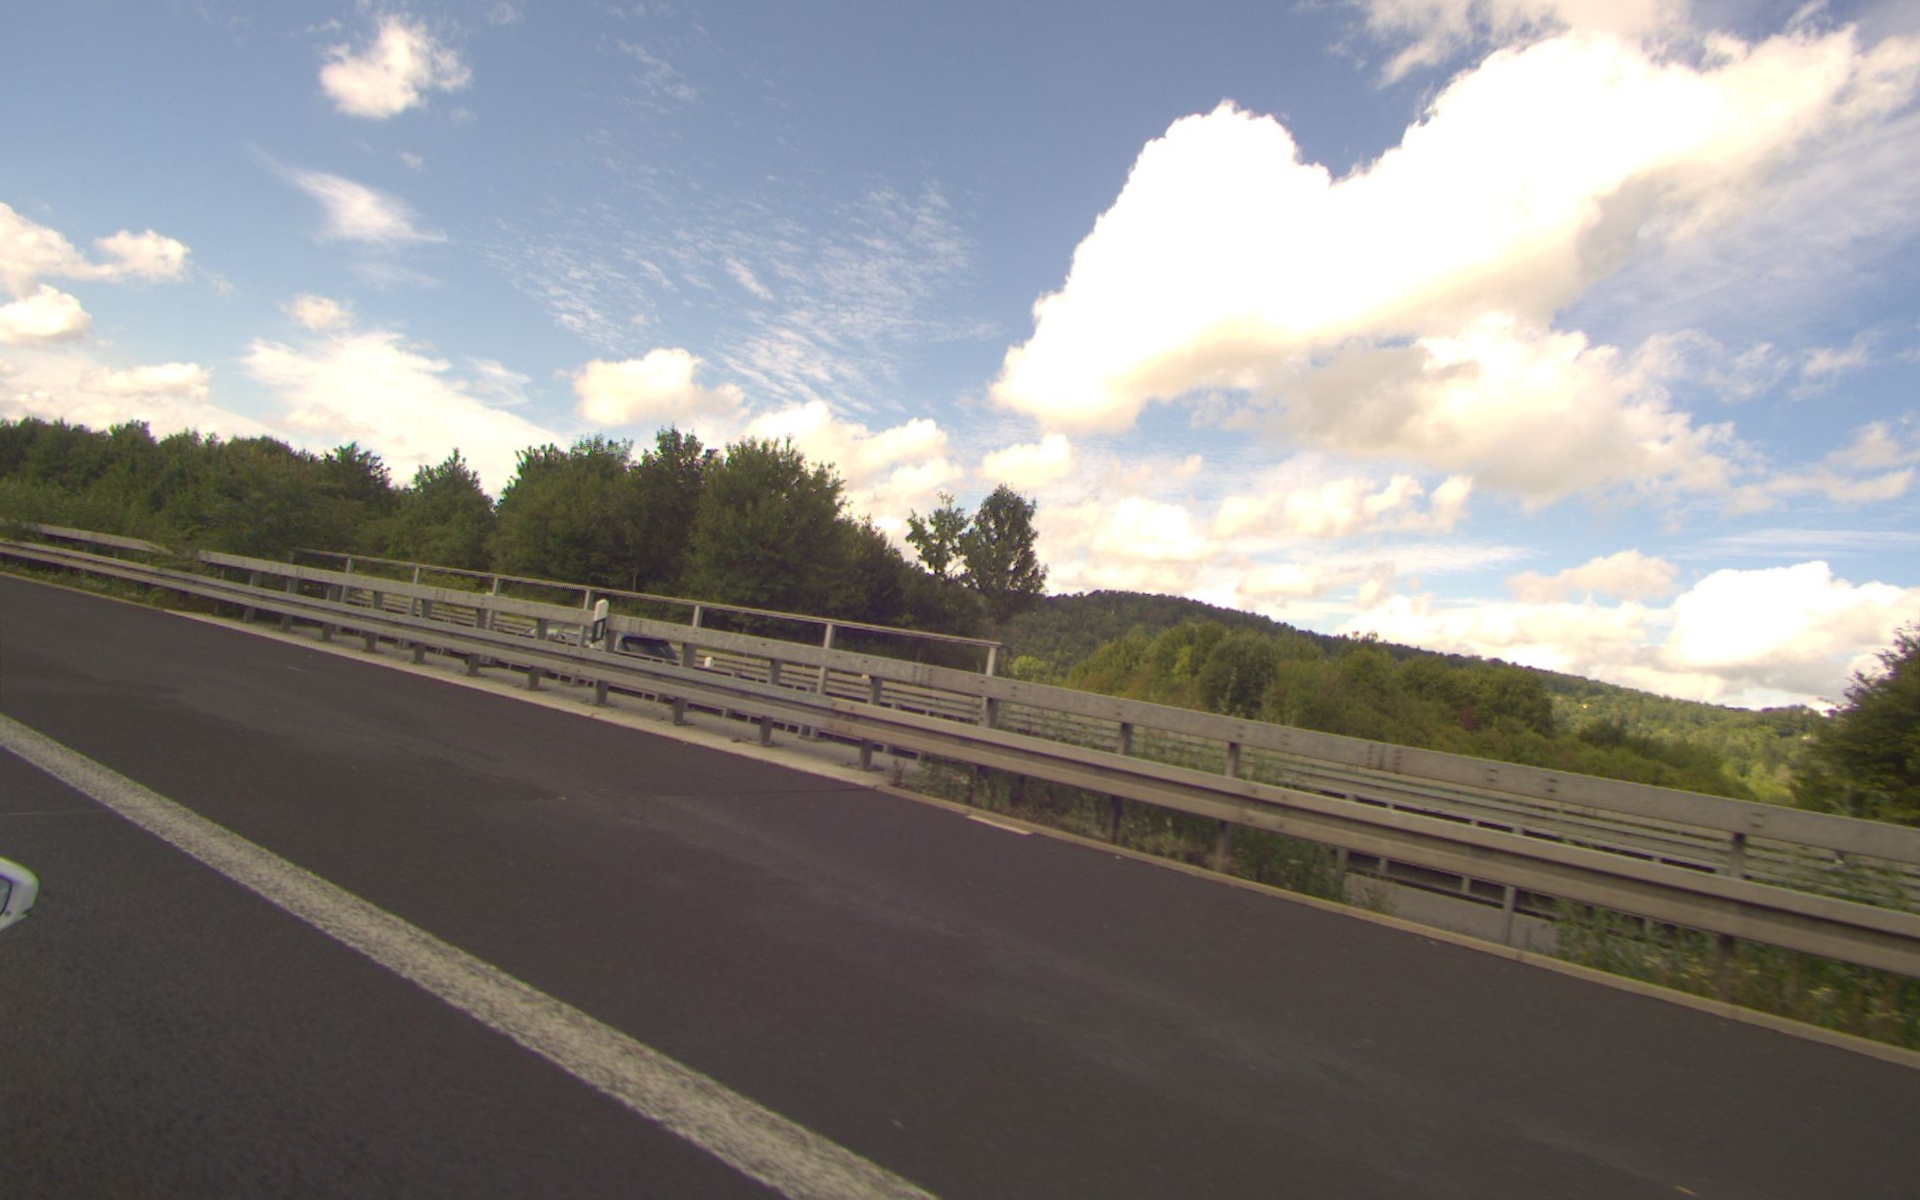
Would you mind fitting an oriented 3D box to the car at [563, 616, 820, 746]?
[{"bbox_3d":[-4.731,1.373,17.533,4.273,1.589,1.787,7,-2,33],"label":"car"}]
